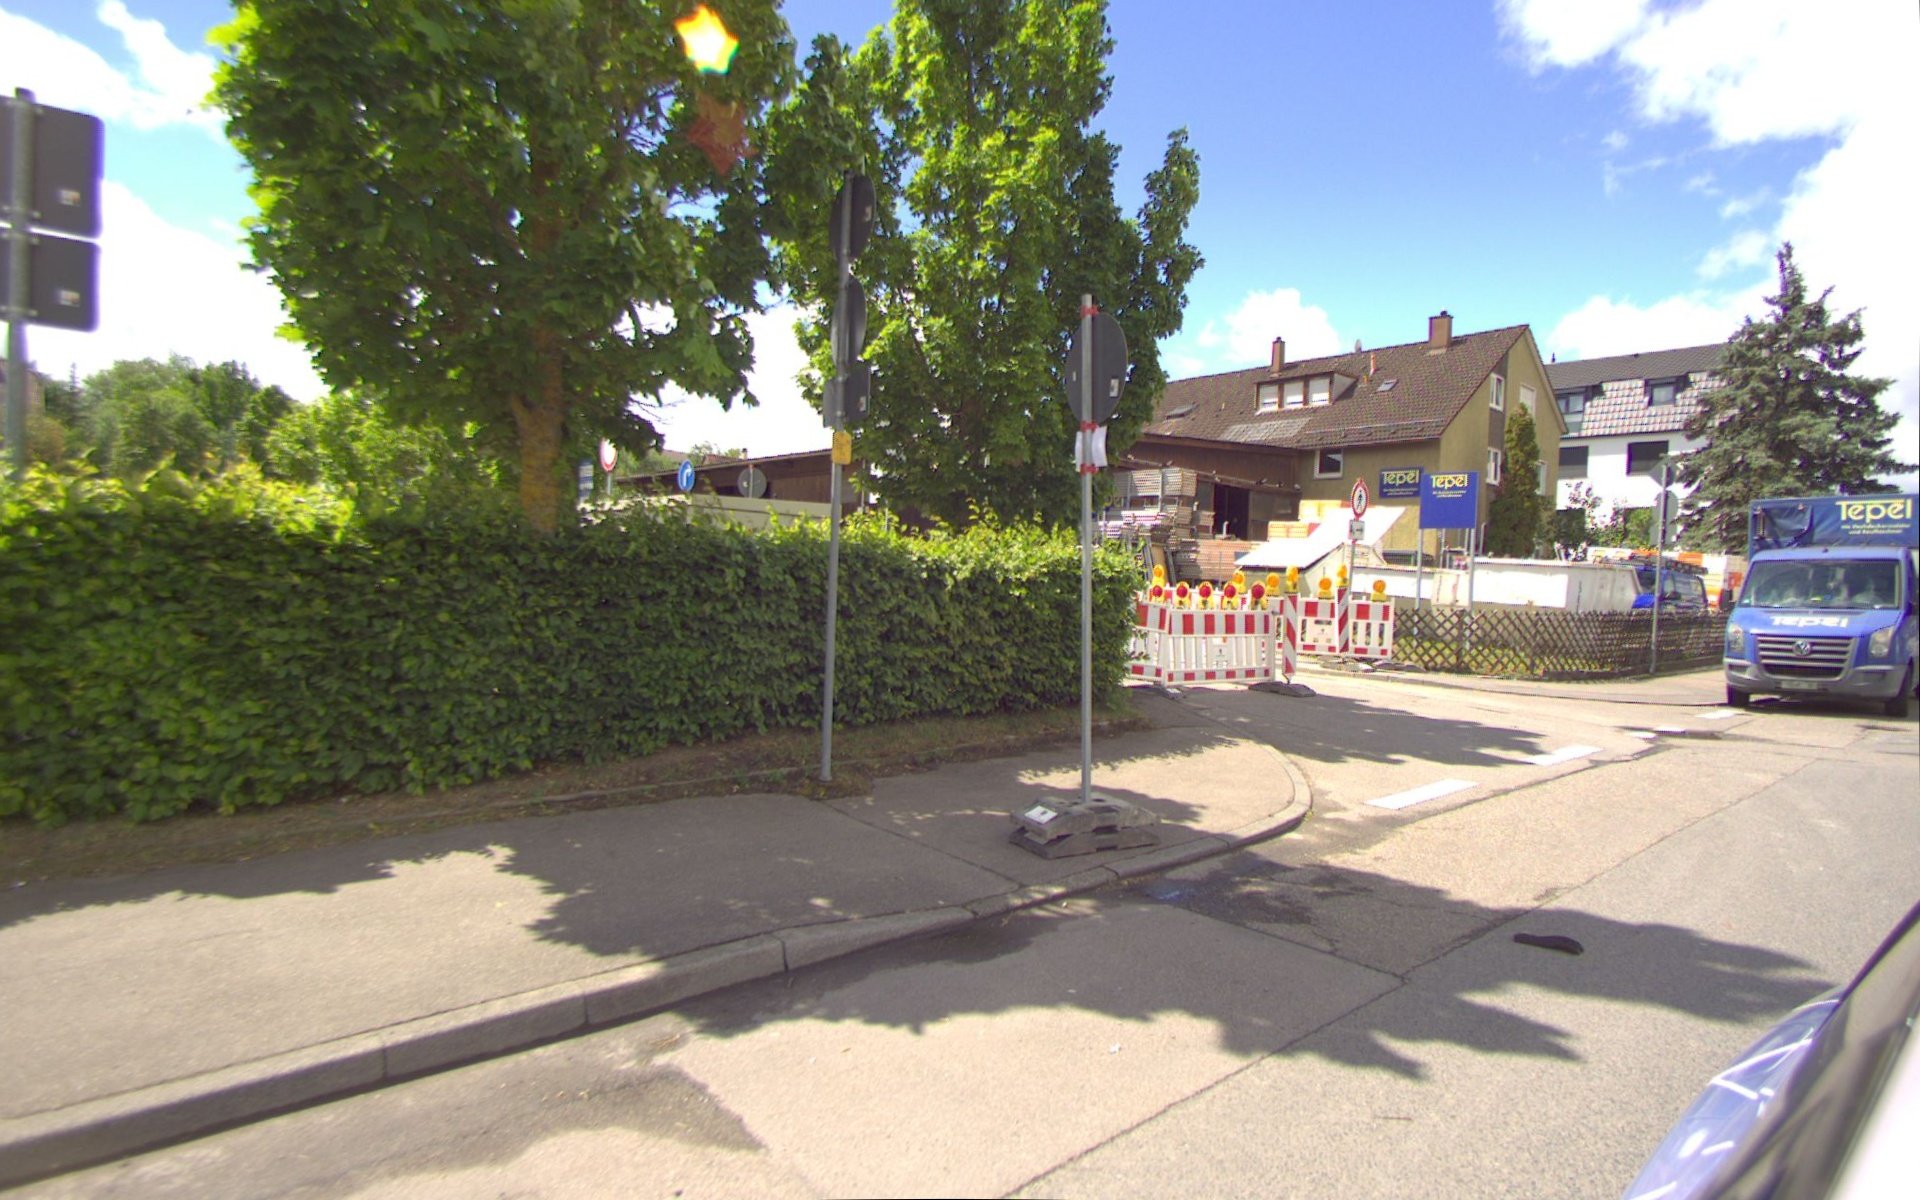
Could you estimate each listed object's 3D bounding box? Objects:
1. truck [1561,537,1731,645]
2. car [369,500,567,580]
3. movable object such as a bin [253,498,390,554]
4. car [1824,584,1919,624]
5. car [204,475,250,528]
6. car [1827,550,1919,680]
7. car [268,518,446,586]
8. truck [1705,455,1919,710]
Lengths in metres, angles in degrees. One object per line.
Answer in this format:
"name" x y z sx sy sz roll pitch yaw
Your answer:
"truck" 15.670 -0.146 22.989 5.291 2.107 1.833 2 3 -42
"car" -11.613 -1.351 23.993 3.927 1.605 1.750 1 -1 -38
"movable object such as a bin" -38.864 -4.404 61.663 6.578 2.797 3.937 1 -1 -41
"car" 47.140 0.222 51.714 1.834 1.673 4.203 1 5 -41
"car" -47.674 -6.330 65.791 1.900 2.960 5.163 1 -1 -42
"car" 17.780 0.271 18.809 4.385 2.196 1.877 1 -1 -40
"car" -16.196 -1.220 27.261 3.927 1.605 1.750 1 -1 -38
"truck" 13.380 -0.194 15.152 5.935 3.136 2.325 1 -1 -41
